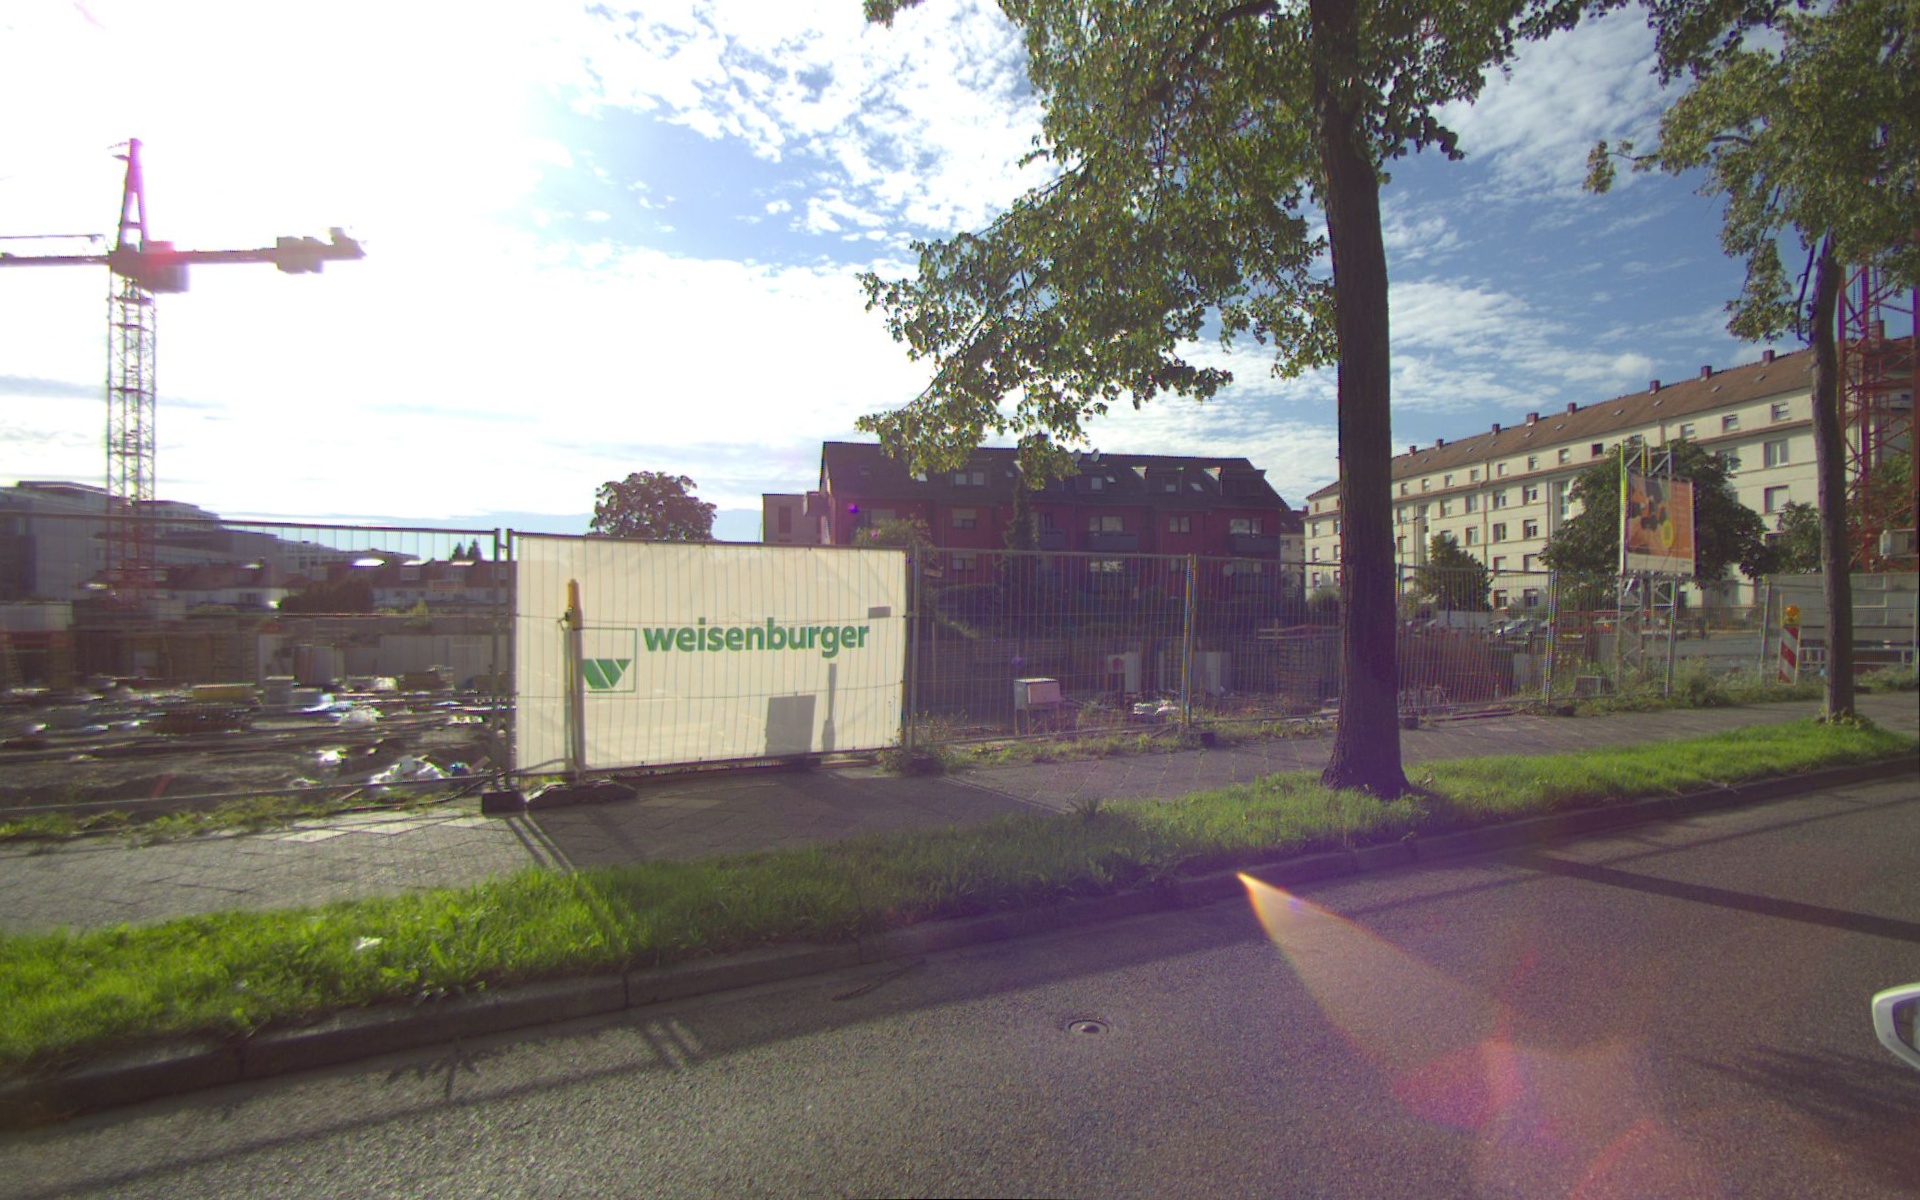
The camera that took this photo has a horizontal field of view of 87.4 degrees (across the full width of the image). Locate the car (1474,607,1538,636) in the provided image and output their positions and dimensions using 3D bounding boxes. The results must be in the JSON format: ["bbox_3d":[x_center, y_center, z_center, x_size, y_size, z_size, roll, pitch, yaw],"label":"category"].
[{"bbox_3d":[39.920,1.571,73.430,3.937,2.040,1.992,1,0,-18],"label":"car"}]

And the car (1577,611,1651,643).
[{"bbox_3d":[43.080,1.767,66.199,3.933,2.040,1.994,0,-2,-15],"label":"car"}]
